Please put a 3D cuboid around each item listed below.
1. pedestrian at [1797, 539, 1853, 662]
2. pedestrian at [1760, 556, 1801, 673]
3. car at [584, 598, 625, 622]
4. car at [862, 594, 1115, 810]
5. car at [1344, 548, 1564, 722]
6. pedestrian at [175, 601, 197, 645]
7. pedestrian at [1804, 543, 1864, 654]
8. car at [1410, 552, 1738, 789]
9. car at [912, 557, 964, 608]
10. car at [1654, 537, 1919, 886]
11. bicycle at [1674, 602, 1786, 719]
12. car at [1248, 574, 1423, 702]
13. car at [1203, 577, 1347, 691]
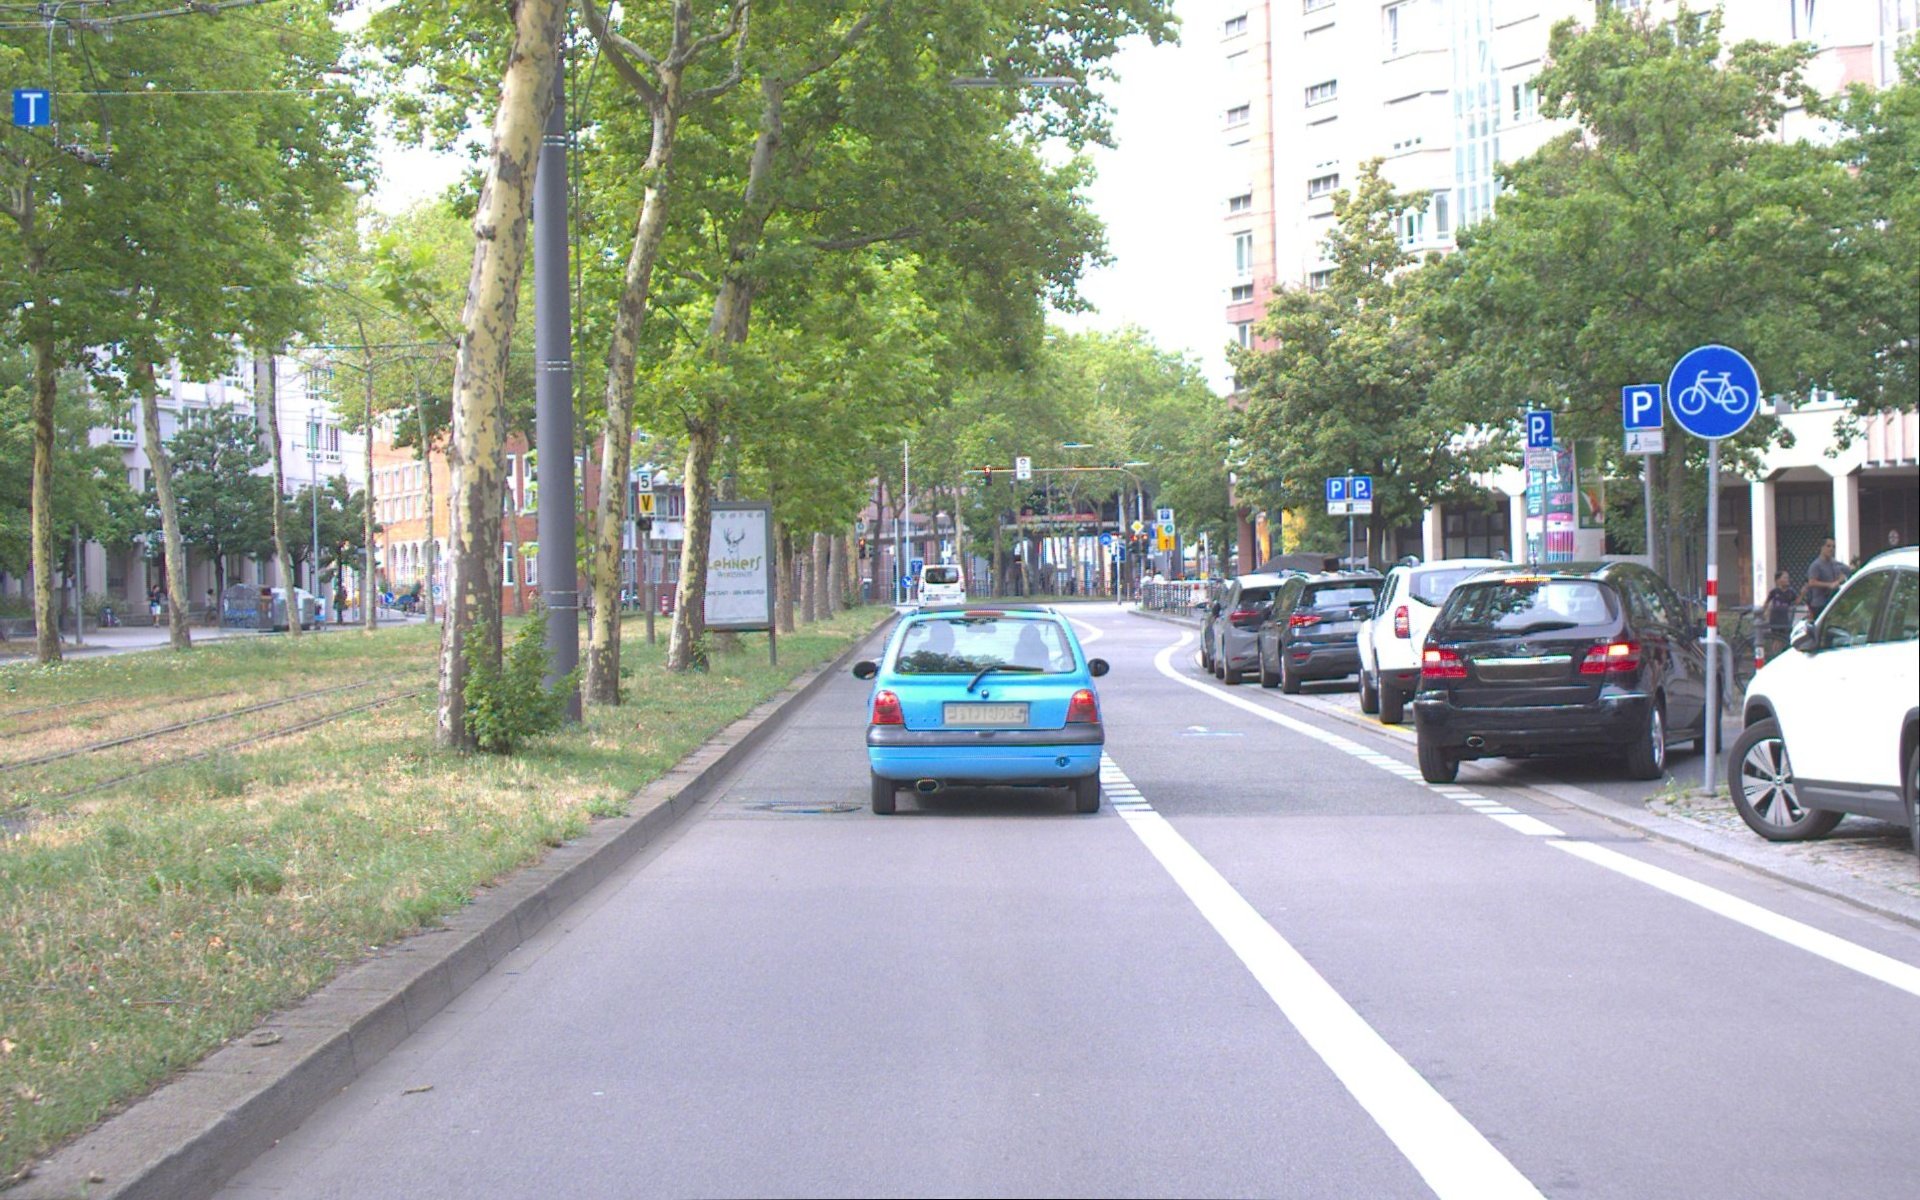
[{"bbox_3d":[11.112,0.002,44.162,0.516,1.564,0.479,-1,0,36],"label":"pedestrian"},{"bbox_3d":[10.375,0.180,43.480,0.411,1.474,0.503,-1,0,7],"label":"pedestrian"},{"bbox_3d":[-19.184,0.530,185.615,1.729,1.241,4.534,-1,0,0],"label":"car"},{"bbox_3d":[0.209,0.664,24.416,1.640,1.381,3.843,-1,0,1],"label":"car"},{"bbox_3d":[5.109,0.326,36.041,1.861,1.647,4.163,-2,0,3],"label":"car"},{"bbox_3d":[-29.944,0.894,132.984,0.552,1.699,0.884,-1,0,5],"label":"pedestrian"},{"bbox_3d":[12.480,-0.023,49.110,0.745,1.564,0.764,-1,0,10],"label":"pedestrian"},{"bbox_3d":[4.830,0.486,26.589,1.776,1.571,4.301,-3,0,19],"label":"car"},{"bbox_3d":[-0.851,-0.694,134.887,1.932,1.919,4.955,-1,0,0],"label":"car"},{"bbox_3d":[5.334,0.478,18.063,1.994,1.597,4.584,-4,1,-5],"label":"car"},{"bbox_3d":[7.131,0.544,31.911,0.605,1.026,1.866,-1,0,0],"label":"bicycle"},{"bbox_3d":[4.876,0.461,45.138,1.715,1.514,4.204,-3,0,-1],"label":"car"},{"bbox_3d":[4.563,0.465,50.282,1.740,1.514,4.401,-2,0,1],"label":"car"}]
